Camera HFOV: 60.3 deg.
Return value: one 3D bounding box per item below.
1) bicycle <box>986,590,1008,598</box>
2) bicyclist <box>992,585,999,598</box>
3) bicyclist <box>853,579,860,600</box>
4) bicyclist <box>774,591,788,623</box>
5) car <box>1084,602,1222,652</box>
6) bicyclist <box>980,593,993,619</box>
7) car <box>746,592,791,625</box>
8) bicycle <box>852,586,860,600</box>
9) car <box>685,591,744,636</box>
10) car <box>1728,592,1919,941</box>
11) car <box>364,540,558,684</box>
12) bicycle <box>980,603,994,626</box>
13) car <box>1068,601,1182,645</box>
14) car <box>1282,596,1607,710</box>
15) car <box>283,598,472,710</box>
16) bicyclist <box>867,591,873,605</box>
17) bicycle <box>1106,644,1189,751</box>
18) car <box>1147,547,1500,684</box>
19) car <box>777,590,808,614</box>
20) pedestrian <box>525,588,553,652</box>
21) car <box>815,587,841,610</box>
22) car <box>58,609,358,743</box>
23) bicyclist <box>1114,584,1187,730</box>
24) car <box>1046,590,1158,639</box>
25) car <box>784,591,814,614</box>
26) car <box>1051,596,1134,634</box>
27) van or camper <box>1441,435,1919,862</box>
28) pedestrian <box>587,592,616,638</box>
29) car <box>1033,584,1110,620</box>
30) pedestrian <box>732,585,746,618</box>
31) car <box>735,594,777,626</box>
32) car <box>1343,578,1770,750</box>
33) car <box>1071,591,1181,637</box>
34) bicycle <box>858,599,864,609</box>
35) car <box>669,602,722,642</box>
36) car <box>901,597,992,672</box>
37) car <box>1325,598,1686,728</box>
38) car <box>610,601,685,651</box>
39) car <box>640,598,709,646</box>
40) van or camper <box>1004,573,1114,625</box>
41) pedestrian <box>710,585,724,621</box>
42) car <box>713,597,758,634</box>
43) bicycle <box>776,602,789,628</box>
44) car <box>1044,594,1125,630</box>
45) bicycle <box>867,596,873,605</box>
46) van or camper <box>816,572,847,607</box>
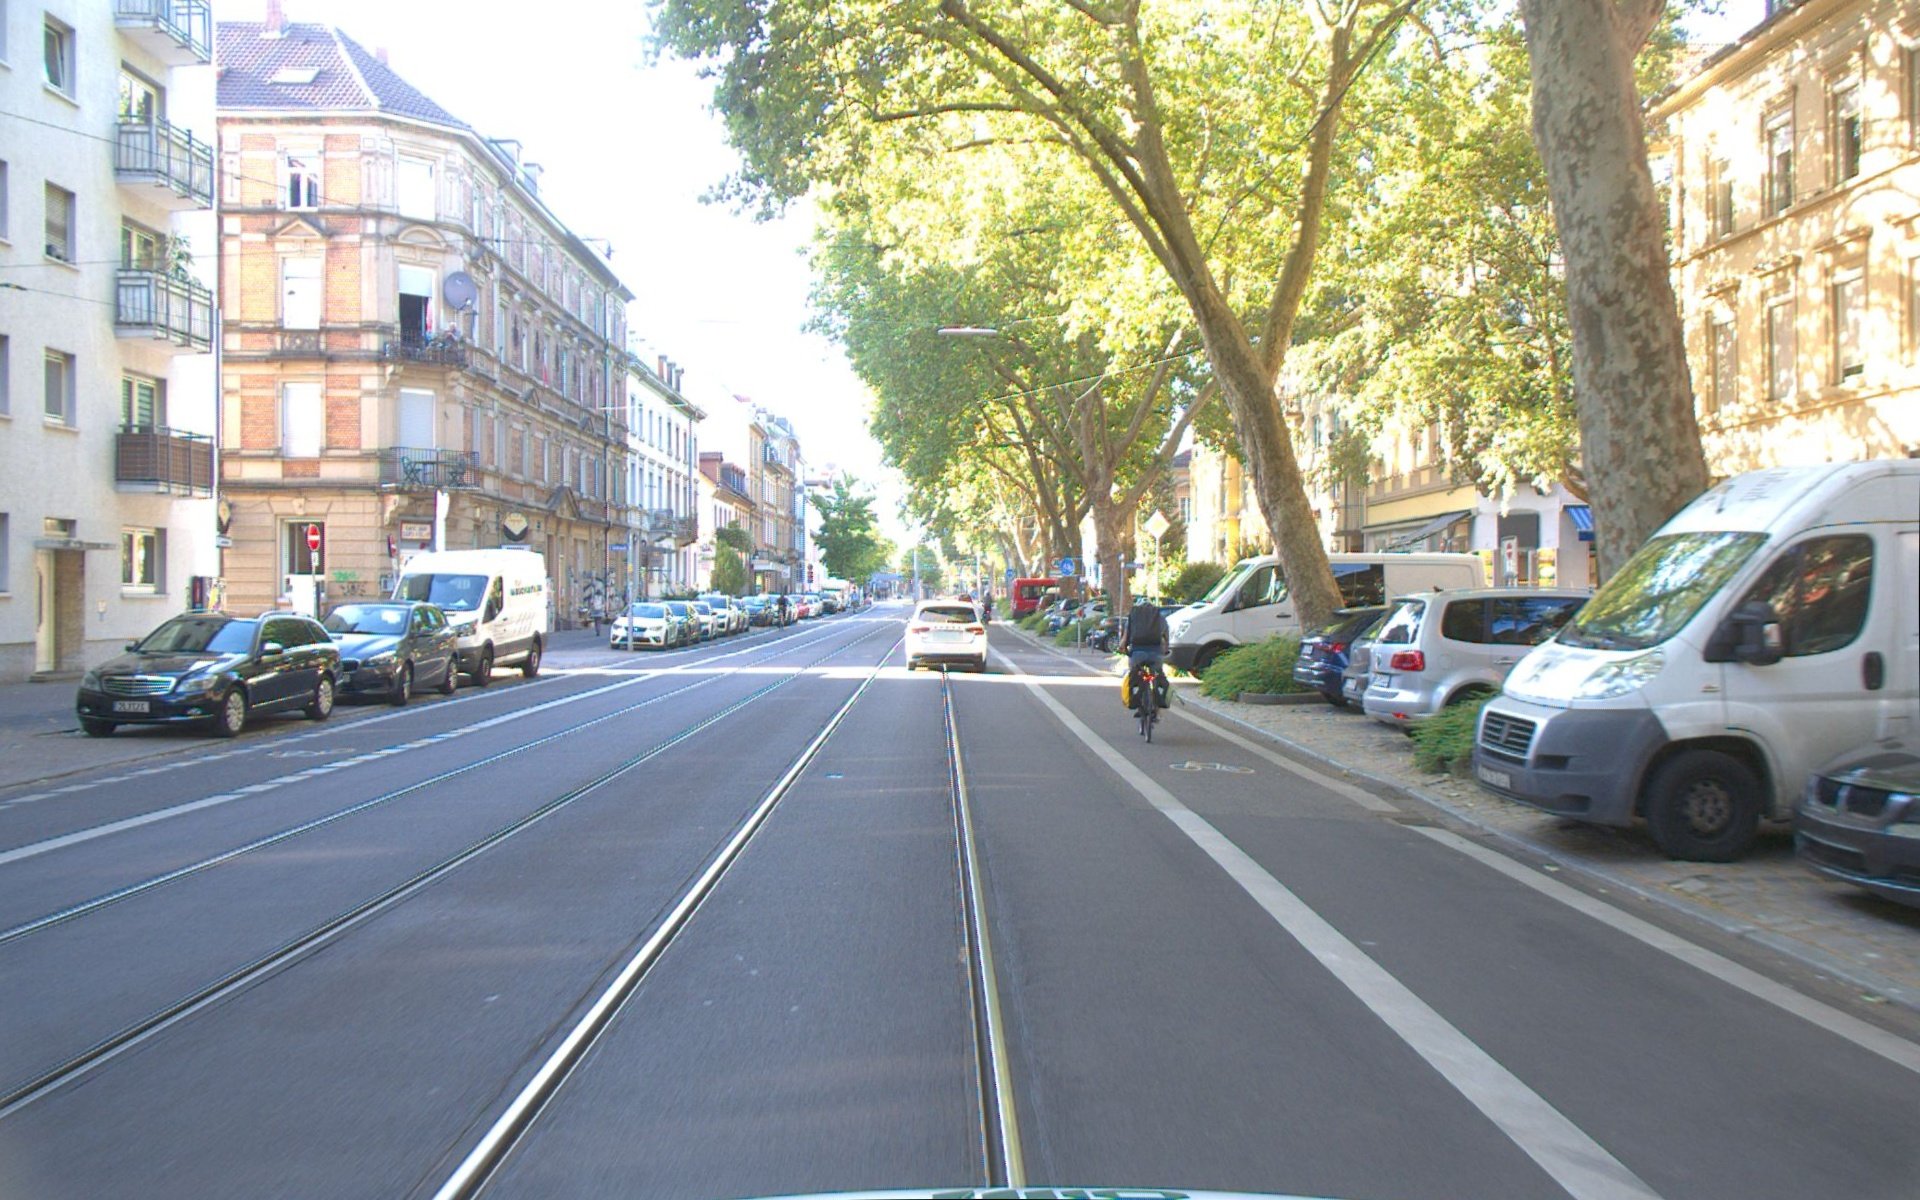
[{"bbox_3d":[4.649,-0.733,208.370,2.711,1.017,0.593,1,0,14],"label":"bicycle"},{"bbox_3d":[4.504,-1.039,208.410,0.721,1.617,0.587,0,0,12],"label":"bicyclist"},{"bbox_3d":[-8.582,-0.868,137.032,0.463,1.664,0.800,0,0,0],"label":"bicyclist"},{"bbox_3d":[-8.511,0.316,78.505,0.570,1.508,0.807,-1,0,-1],"label":"bicyclist"},{"bbox_3d":[5.969,0.819,51.319,4.014,1.517,1.830,0,0,-3],"label":"car"},{"bbox_3d":[1.440,0.306,88.750,0.665,1.362,0.525,1,0,-1],"label":"bicyclist"},{"bbox_3d":[-10.322,0.429,89.296,1.818,1.733,4.763,0,0,0],"label":"car"},{"bbox_3d":[-8.590,-0.595,136.785,0.471,1.105,1.846,0,0,0],"label":"bicycle"},{"bbox_3d":[-10.156,0.550,68.781,1.750,1.753,4.718,1,0,-1],"label":"car"},{"bbox_3d":[6.479,0.757,8.460,4.299,1.579,1.782,0,0,-2],"label":"car"},{"bbox_3d":[-9.658,0.204,32.584,2.022,2.580,5.667,0,0,1],"label":"car"},{"bbox_3d":[1.423,0.766,88.778,0.666,1.175,2.964,1,0,0],"label":"bicycle"},{"bbox_3d":[6.028,0.816,60.585,3.946,1.506,1.681,-1,0,-2],"label":"car"},{"bbox_3d":[6.670,0.708,23.030,3.972,1.485,1.795,-1,0,-3],"label":"car"},{"bbox_3d":[-9.384,0.806,27.015,1.684,1.660,4.345,0,0,-2],"label":"car"},{"bbox_3d":[-10.329,-0.201,189.659,0.625,1.529,1.070,-1,0,1],"label":"bicyclist"},{"bbox_3d":[2.087,1.063,18.688,0.583,1.022,2.511,3,0,-1],"label":"bicycle"},{"bbox_3d":[6.366,0.256,29.481,5.868,2.322,2.006,0,1,1],"label":"car"},{"bbox_3d":[-11.121,0.132,110.039,1.536,1.590,3.450,0,0,3],"label":"car"},{"bbox_3d":[-12.353,0.582,48.521,0.671,1.832,1.055,1,0,-10],"label":"pedestrian"},{"bbox_3d":[-10.965,-0.157,137.509,1.925,1.812,4.936,3,0,-2],"label":"car"},{"bbox_3d":[-9.374,0.871,21.073,1.683,1.482,4.572,0,0,1],"label":"car"},{"bbox_3d":[2.161,0.634,18.836,0.602,1.579,0.935,4,0,-1],"label":"bicyclist"},{"bbox_3d":[5.655,0.574,66.183,4.177,1.749,1.848,-3,0,-3],"label":"car"},{"bbox_3d":[-11.208,0.172,115.118,1.790,1.529,4.686,1,0,-3],"label":"car"},{"bbox_3d":[5.852,0.656,73.112,3.521,1.627,1.541,0,-1,0],"label":"car"},{"bbox_3d":[6.474,0.266,11.026,5.910,2.534,2.107,-1,0,-2],"label":"van or camper"},{"bbox_3d":[-13.345,0.557,61.567,0.650,1.694,0.767,1,0,31],"label":"pedestrian"},{"bbox_3d":[5.715,0.111,85.303,3.742,1.678,1.766,-2,-1,-3],"label":"car"},{"bbox_3d":[-12.694,0.093,94.945,0.744,1.853,0.829,0,0,-4],"label":"pedestrian"},{"bbox_3d":[-10.328,0.489,83.974,1.522,1.542,3.925,0,0,2],"label":"car"},{"bbox_3d":[6.247,0.646,17.602,3.876,1.684,1.795,-1,-1,-4],"label":"car"},{"bbox_3d":[6.319,0.531,63.160,3.947,1.672,1.680,-1,0,-3],"label":"car"},{"bbox_3d":[-10.942,0.484,182.159,0.474,1.065,2.040,-2,0,1],"label":"bicycle"},{"bbox_3d":[-10.092,0.812,63.394,1.666,1.445,3.996,1,0,-5],"label":"car"},{"bbox_3d":[-0.343,0.694,35.596,1.805,1.506,3.836,1,0,-3],"label":"car"},{"bbox_3d":[6.653,0.741,20.463,3.874,1.504,1.796,-1,0,-1],"label":"car"},{"bbox_3d":[-9.944,0.797,52.805,1.705,1.518,4.044,1,0,-2],"label":"car"},{"bbox_3d":[-10.008,0.727,58.298,1.705,1.589,4.785,1,0,-2],"label":"car"},{"bbox_3d":[5.322,-0.092,89.742,5.699,2.563,2.287,-2,1,-3],"label":"van or camper"},{"bbox_3d":[-13.922,0.162,94.812,0.744,2.049,0.829,0,0,-3],"label":"pedestrian"},{"bbox_3d":[-10.062,0.676,74.286,1.629,1.547,4.062,1,0,-3],"label":"car"},{"bbox_3d":[-8.428,0.712,78.455,0.412,1.170,2.231,-1,0,-1],"label":"bicycle"},{"bbox_3d":[5.652,0.536,75.478,3.522,1.544,1.693,-2,0,-1],"label":"car"},{"bbox_3d":[-10.319,0.088,189.777,0.488,0.959,1.922,-2,0,1],"label":"bicycle"},{"bbox_3d":[-11.984,-0.992,155.015,2.171,3.195,7.114,1,0,1],"label":"van or camper"}]
